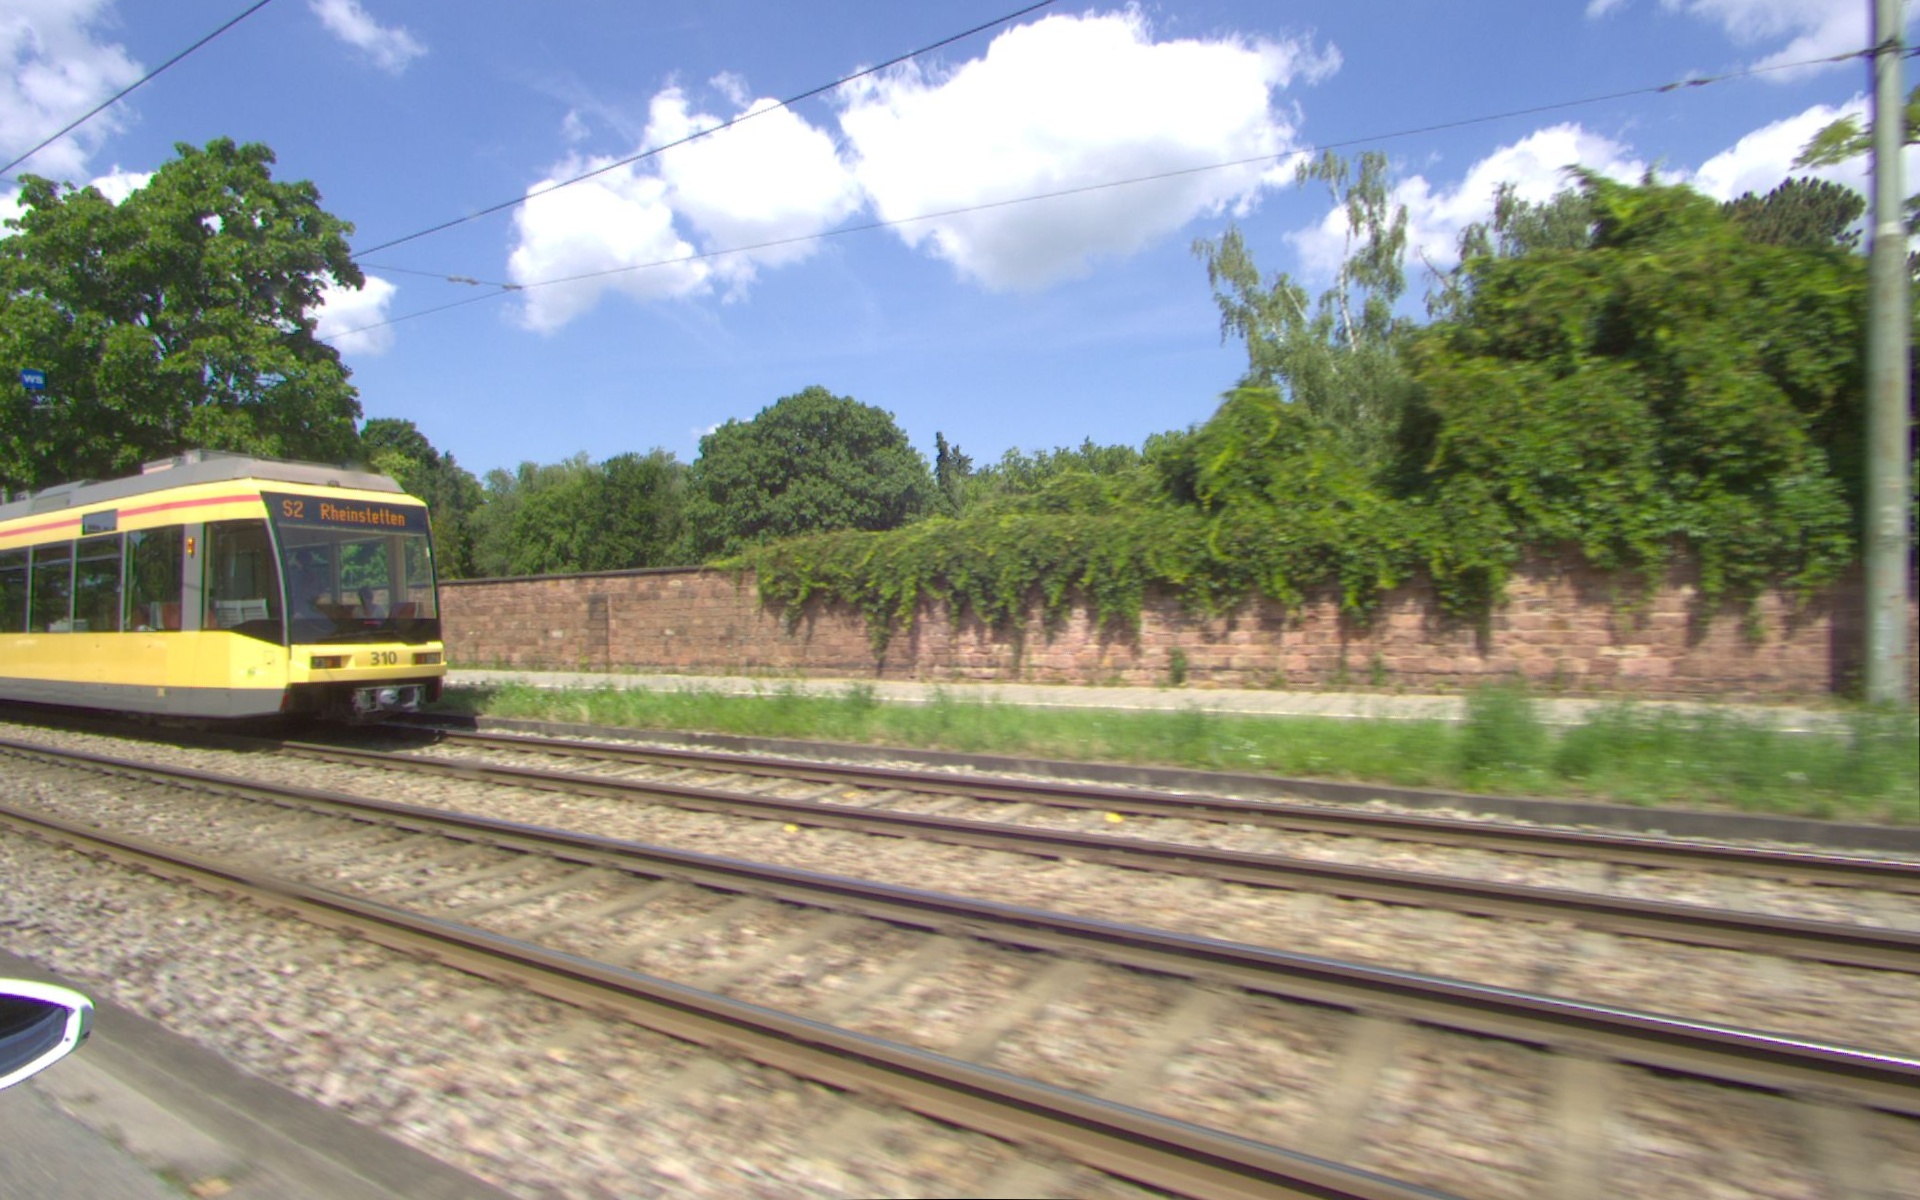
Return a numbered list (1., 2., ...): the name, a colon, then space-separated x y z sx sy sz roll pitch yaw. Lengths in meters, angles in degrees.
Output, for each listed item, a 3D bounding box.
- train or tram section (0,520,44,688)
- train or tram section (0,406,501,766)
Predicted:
1. train or tram section: -30.338 0.208 26.926 19.986 3.739 2.939 -1 -1 31
2. train or tram section: -14.255 0.015 16.654 18.132 3.739 2.937 -1 -1 34
